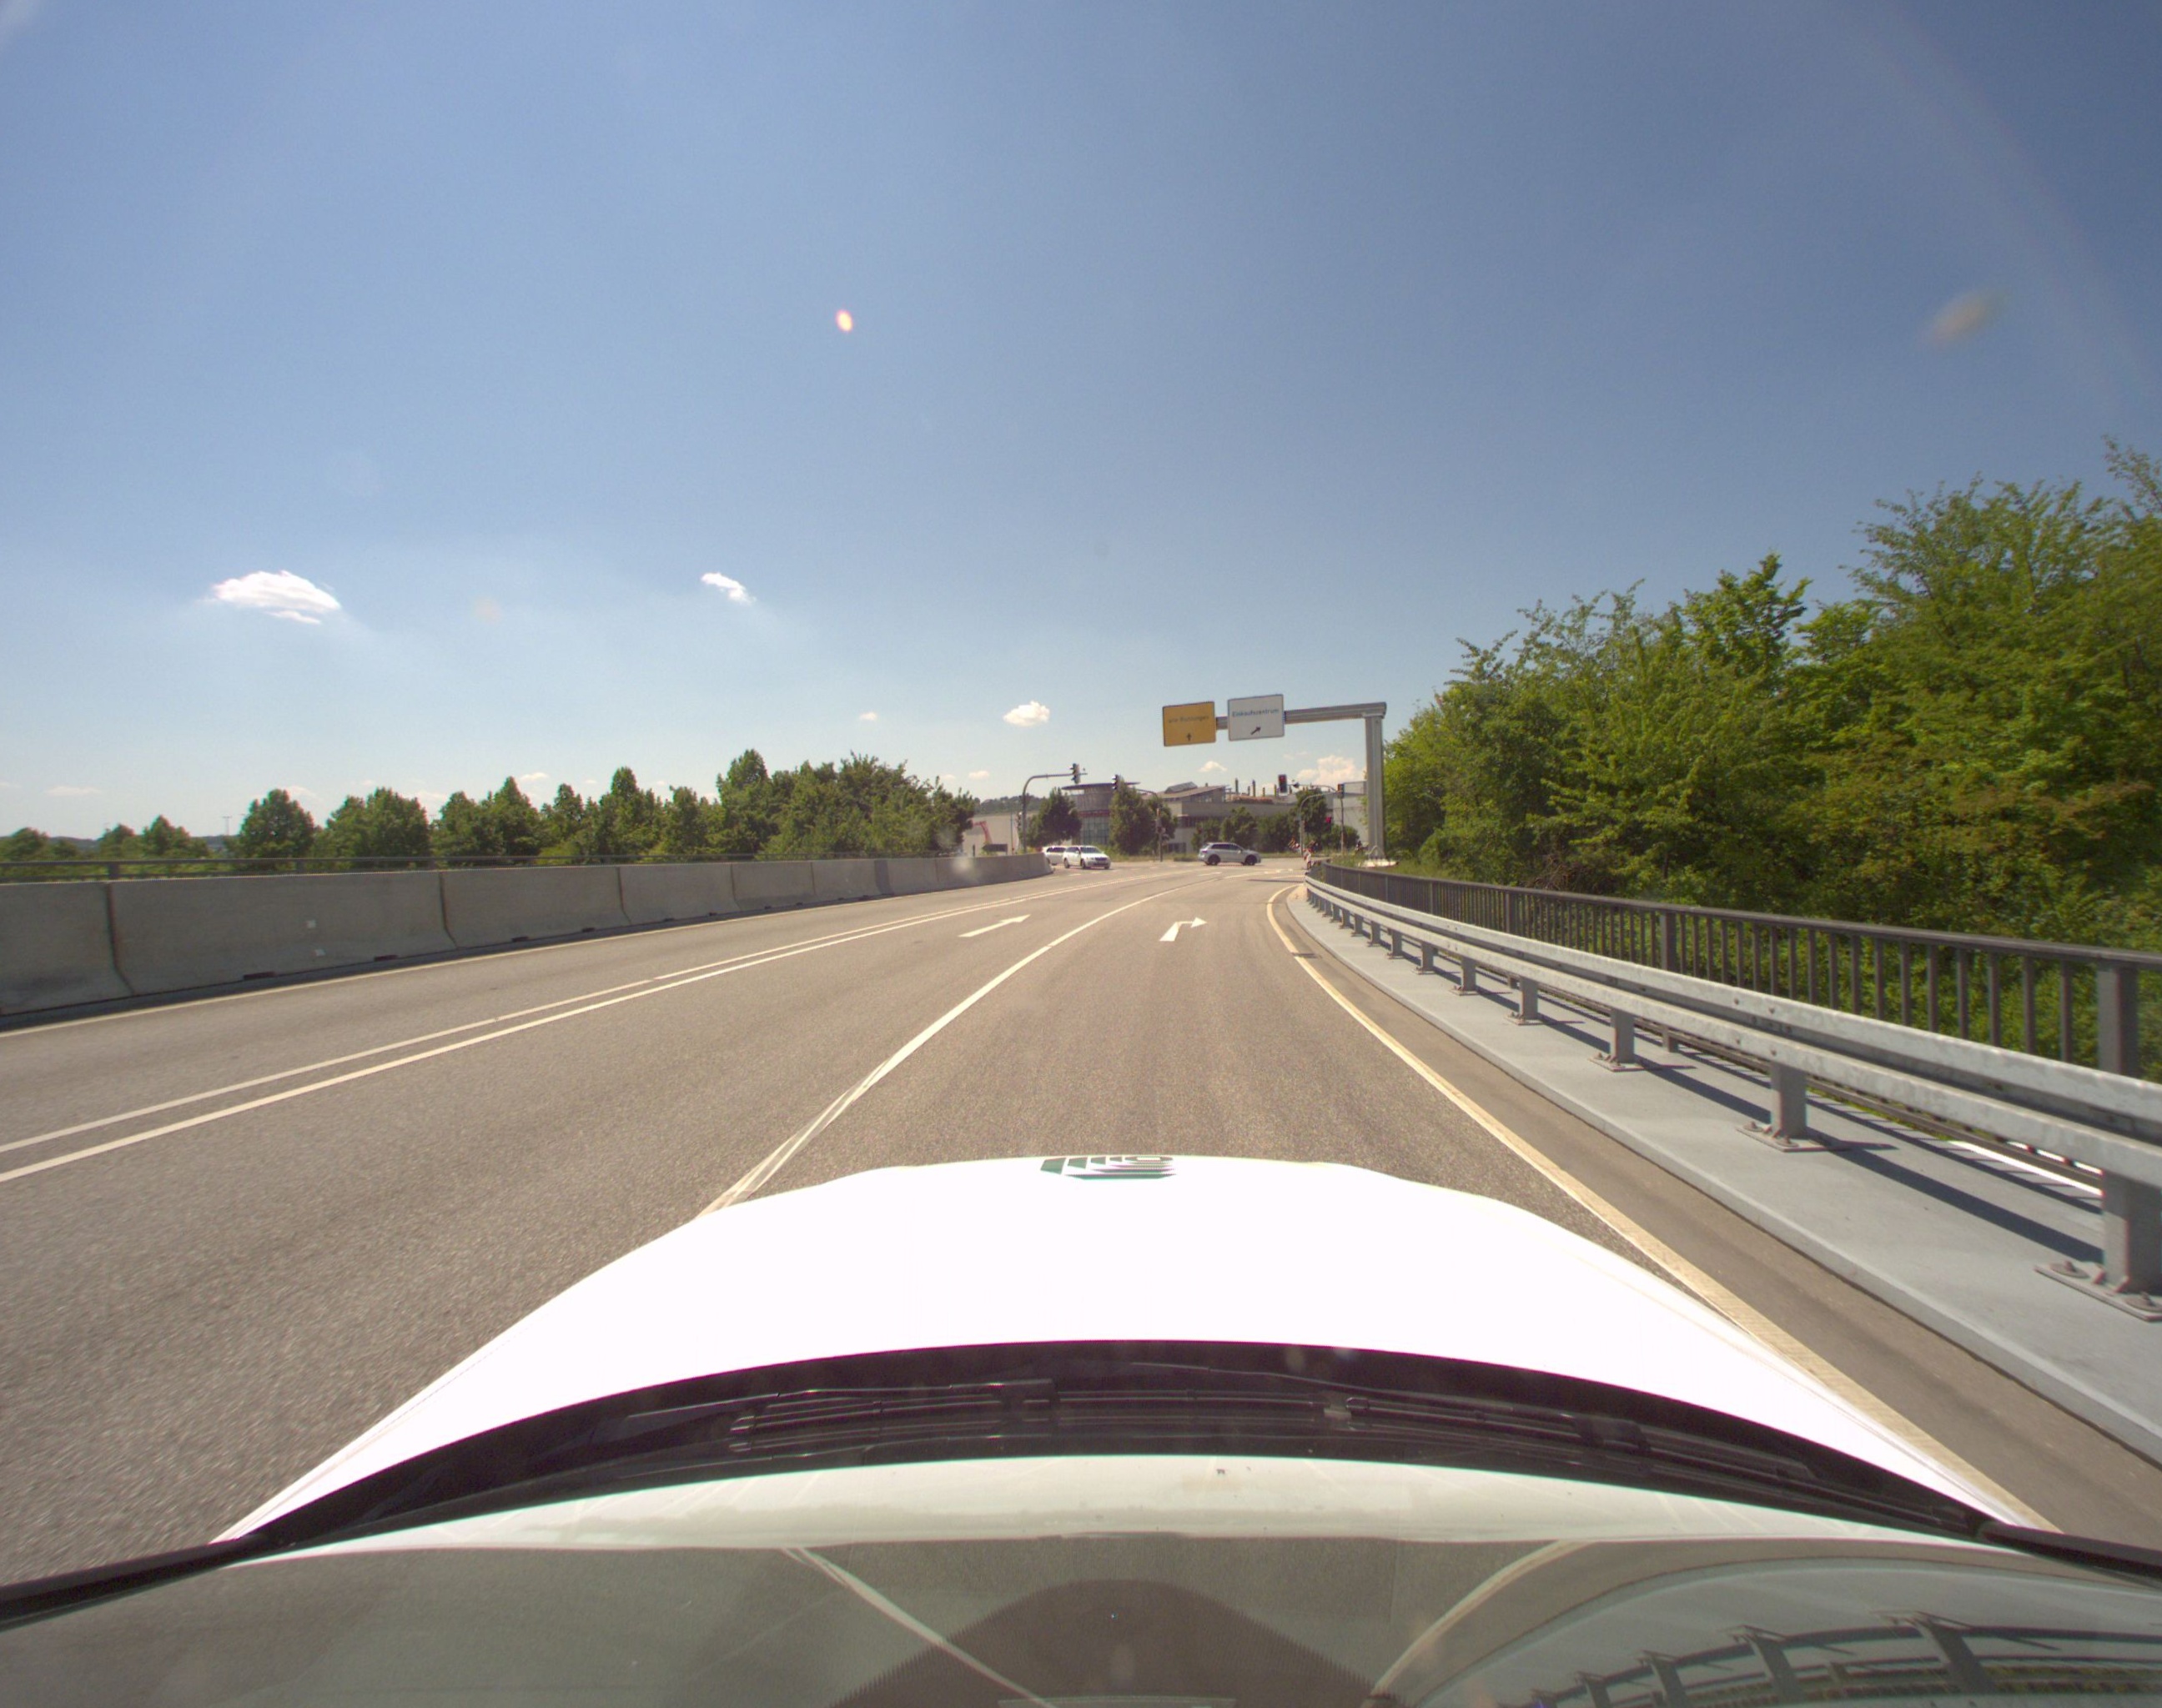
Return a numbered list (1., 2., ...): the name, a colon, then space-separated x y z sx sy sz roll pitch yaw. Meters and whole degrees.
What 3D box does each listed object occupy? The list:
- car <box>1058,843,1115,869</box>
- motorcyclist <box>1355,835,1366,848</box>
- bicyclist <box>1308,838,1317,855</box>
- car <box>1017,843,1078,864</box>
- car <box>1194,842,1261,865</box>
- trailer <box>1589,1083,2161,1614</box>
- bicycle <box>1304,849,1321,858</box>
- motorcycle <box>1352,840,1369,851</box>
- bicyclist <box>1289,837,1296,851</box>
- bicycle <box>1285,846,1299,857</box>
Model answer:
1. car: 0.295 0.105 51.200 1.797 1.495 4.512 -1 1 -26
2. motorcyclist: 27.965 -1.262 81.485 0.727 1.303 0.668 -1 -1 -42
3. bicyclist: 23.458 -0.779 82.643 0.734 1.717 0.525 -1 2 -41
4. car: -2.534 -0.031 61.573 4.085 1.486 2.011 1 1 23
5. car: 10.469 -0.045 58.499 4.371 1.505 1.998 -2 -1 -3
6. trailer: 11.226 5.458 9.600 8.304 4.347 2.911 -2 -1 15
7. bicycle: 23.487 -0.036 82.687 2.138 0.852 0.529 -1 2 -41
8. motorcycle: 27.940 -0.860 81.445 2.297 1.080 0.557 -1 0 -43
9. bicyclist: 21.479 -0.993 82.780 0.688 1.404 0.404 0 1 -41
10. bicycle: 21.471 -0.257 82.790 1.842 1.024 0.410 -1 2 -42
